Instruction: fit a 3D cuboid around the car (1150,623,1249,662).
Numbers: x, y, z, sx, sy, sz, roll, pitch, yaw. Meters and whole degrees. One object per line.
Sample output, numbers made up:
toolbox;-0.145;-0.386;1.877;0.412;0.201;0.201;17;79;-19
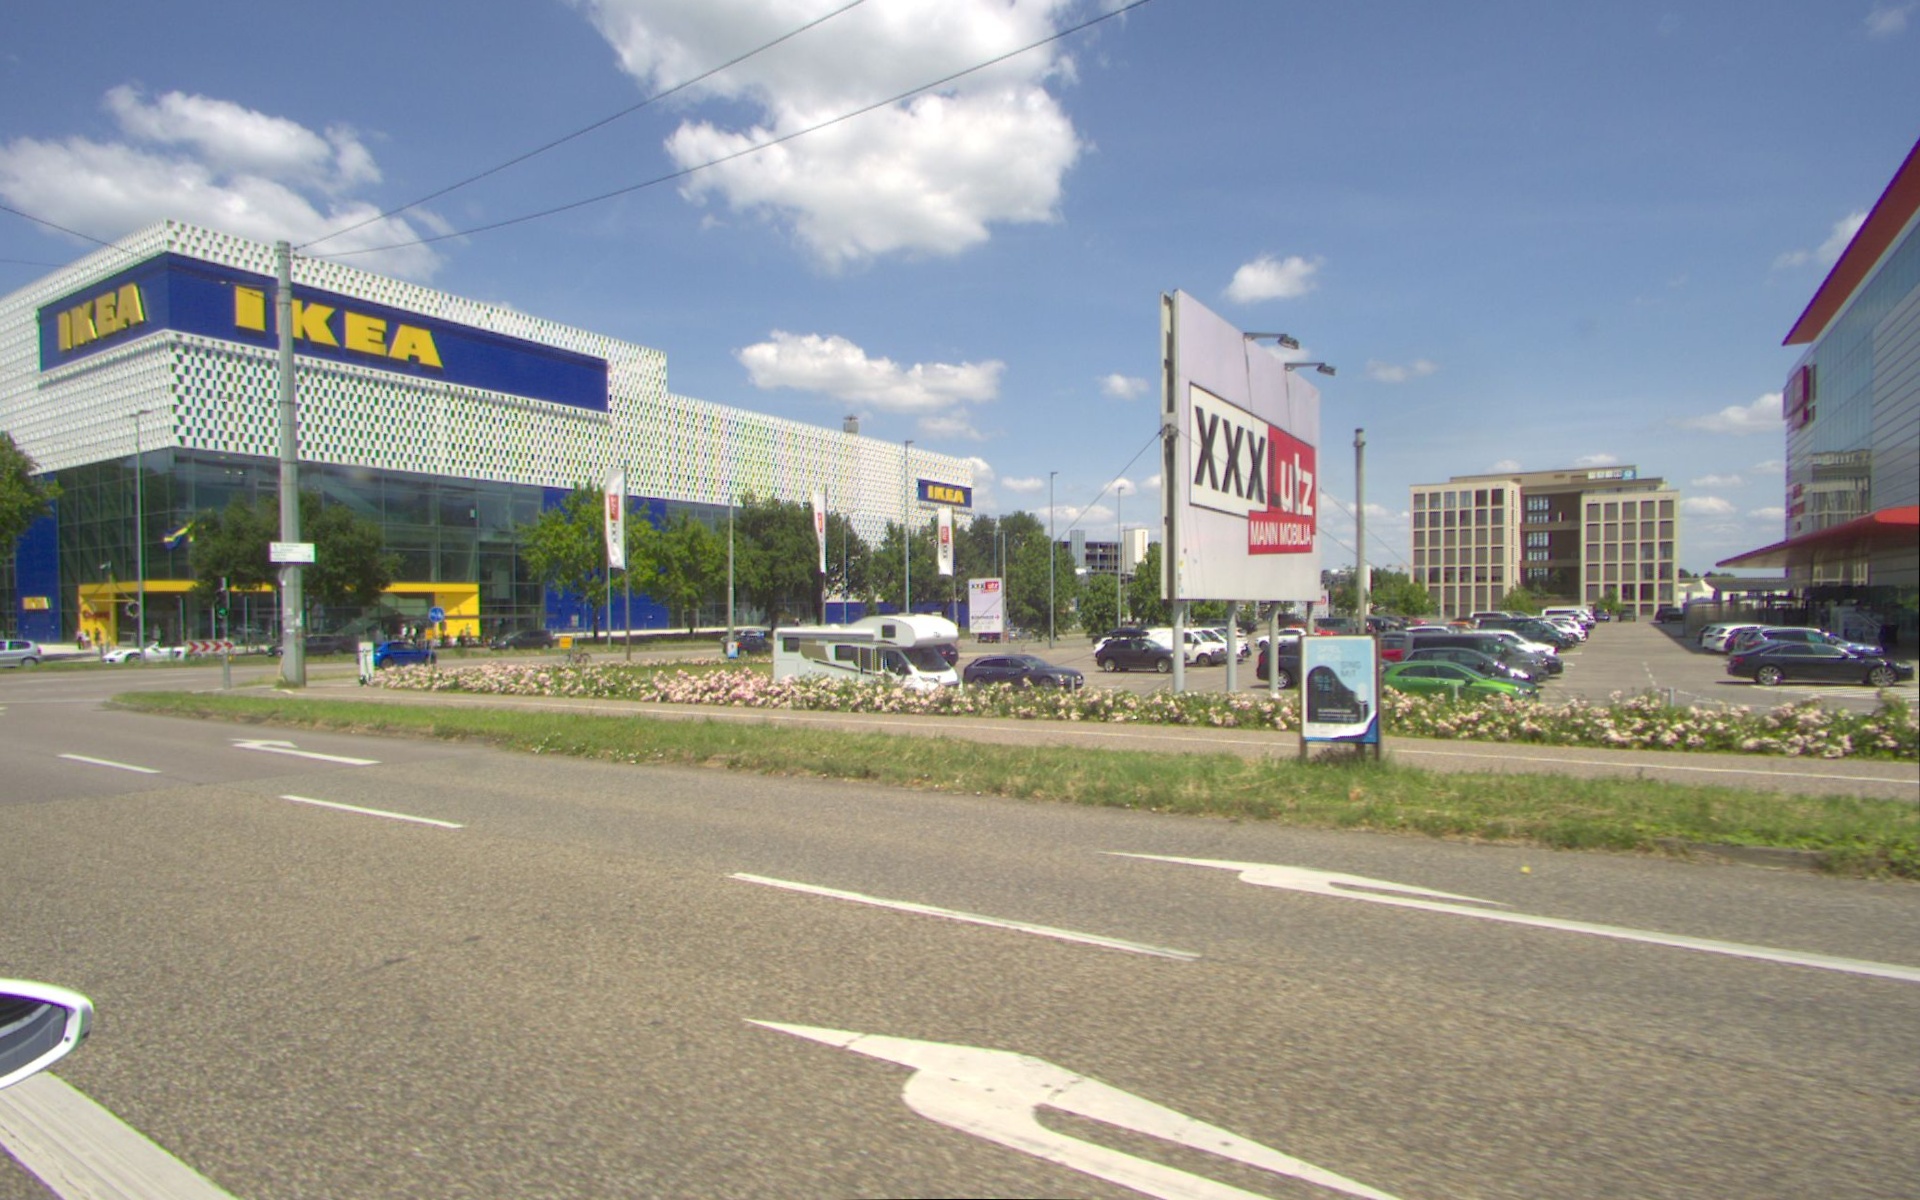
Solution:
car;13.168;2.319;55.146;4.930;2.033;1.990;-1;-2;33

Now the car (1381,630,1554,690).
car;18.380;2.113;36.365;5.456;2.039;1.990;-1;-2;33

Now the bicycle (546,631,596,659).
bicycle;-21.184;2.431;54.586;0.976;1.500;2.415;-1;-2;36

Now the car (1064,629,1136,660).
car;8.596;2.734;61.377;3.936;1.839;1.993;-1;-1;26

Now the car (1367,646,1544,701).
car;15.917;2.308;32.243;4.930;1.570;1.990;-1;-2;33

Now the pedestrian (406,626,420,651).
pedestrian;-45.022;3.177;82.414;0.813;2.039;0.709;-1;-1;34

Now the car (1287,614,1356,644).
car;28.873;2.339;80.017;4.930;2.333;1.990;-1;-2;33

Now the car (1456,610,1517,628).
car;49.967;1.839;95.058;4.930;1.631;1.990;-1;-2;33

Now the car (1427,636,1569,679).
car;21.661;2.266;40.357;4.930;1.631;1.990;-1;-2;33

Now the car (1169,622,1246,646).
car;17.219;2.344;69.720;4.922;1.631;1.993;-1;-2;27

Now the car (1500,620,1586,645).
car;39.147;2.156;67.246;4.930;1.631;1.990;-1;-2;33

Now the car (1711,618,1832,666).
car;36.212;1.867;44.829;3.943;2.039;1.990;-1;-1;32

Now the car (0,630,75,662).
car;-44.703;2.153;46.972;1.974;1.504;4.486;-1;-3;36

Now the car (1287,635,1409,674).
car;17.776;2.445;45.918;4.930;1.632;1.989;-1;0;33

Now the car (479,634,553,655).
car;-32.213;3.230;72.742;1.974;1.504;4.486;-1;-3;36

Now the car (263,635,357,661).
car;-39.758;2.883;61.333;1.974;1.505;4.484;-1;-2;36

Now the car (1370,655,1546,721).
car;13.933;2.409;28.076;4.242;1.517;1.988;-1;2;33

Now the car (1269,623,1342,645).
car;26.215;2.571;75.933;4.930;1.631;1.990;-1;-2;33

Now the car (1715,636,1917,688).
car;28.742;2.045;33.890;4.930;1.631;1.990;-1;-2;33

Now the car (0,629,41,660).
car;-47.413;2.140;48.647;1.974;1.504;3.779;-1;-3;36

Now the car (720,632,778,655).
car;-14.954;3.039;71.109;1.741;1.546;4.079;-1;-1;31

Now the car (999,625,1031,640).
car;6.083;3.542;110.094;1.741;1.546;4.079;-1;-1;31

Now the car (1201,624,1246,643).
car;26.122;3.353;99.401;3.943;1.863;1.819;-1;-1;32

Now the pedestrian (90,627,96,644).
pedestrian;-67.788;2.760;78.328;0.263;1.359;0.288;-1;-1;32

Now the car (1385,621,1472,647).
car;30.305;2.215;64.822;4.930;1.631;1.990;-1;-2;33

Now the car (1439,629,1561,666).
car;25.342;2.188;47.033;4.930;1.671;1.990;-1;-2;33

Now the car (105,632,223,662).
car;-41.438;2.435;52.223;1.974;1.504;4.486;-1;-3;36

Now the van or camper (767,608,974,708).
van or camper;-3.139;1.871;33.795;7.129;3.059;2.499;-1;-2;36

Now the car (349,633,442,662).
car;-29.696;2.495;52.798;1.812;1.473;3.991;0;-2;23

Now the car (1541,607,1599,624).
car;60.794;1.592;99.838;4.930;1.631;1.990;-1;-2;33

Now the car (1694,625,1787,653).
car;43.924;2.191;56.461;3.943;1.505;1.990;-1;-2;32

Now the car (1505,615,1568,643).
car;42.814;2.176;74.371;3.943;2.039;1.990;-1;-1;32

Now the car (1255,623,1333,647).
car;23.823;2.489;71.505;4.930;1.631;1.990;-1;-2;33

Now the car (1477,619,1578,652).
car;33.412;2.101;59.053;5.106;1.889;1.991;-1;-2;31

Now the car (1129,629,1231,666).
car;11.630;2.484;53.069;4.930;1.876;1.990;-1;-2;33

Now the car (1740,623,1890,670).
car;33.903;1.846;39.873;4.272;1.804;1.991;-1;-3;33

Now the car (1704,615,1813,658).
car;39.237;1.794;49.330;3.943;2.039;1.990;-1;-2;32

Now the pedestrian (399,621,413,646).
pedestrian;-45.838;2.776;82.893;0.813;2.039;0.709;-1;-1;34

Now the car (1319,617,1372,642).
car;33.030;2.530;85.767;3.943;2.039;1.990;-1;-1;32

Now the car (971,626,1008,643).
car;2.877;3.343;97.062;1.741;1.546;4.080;-1;-2;31

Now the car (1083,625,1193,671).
car;8.707;2.327;49.101;4.930;2.162;1.990;-1;-2;33

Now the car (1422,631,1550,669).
car;23.552;2.215;44.868;4.930;1.631;1.990;-1;-2;33

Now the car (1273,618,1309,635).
car;41.288;3.342;125.009;4.068;2.039;1.479;0;-2;32

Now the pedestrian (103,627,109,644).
pedestrian;-67.511;2.798;79.135;0.263;1.359;0.288;-1;-1;32

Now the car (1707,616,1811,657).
car;40.892;1.879;51.372;3.943;2.039;1.990;-1;-1;32

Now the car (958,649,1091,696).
car;2.448;2.731;38.402;4.702;1.557;1.989;-1;0;33

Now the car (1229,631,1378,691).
car;12.771;2.218;37.315;4.930;2.040;1.989;-1;0;33

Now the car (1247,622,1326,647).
car;22.640;2.392;69.463;4.930;1.631;1.990;-1;-2;33

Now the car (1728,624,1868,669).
car;35.380;1.975;42.450;4.272;1.804;1.991;-1;-3;33
